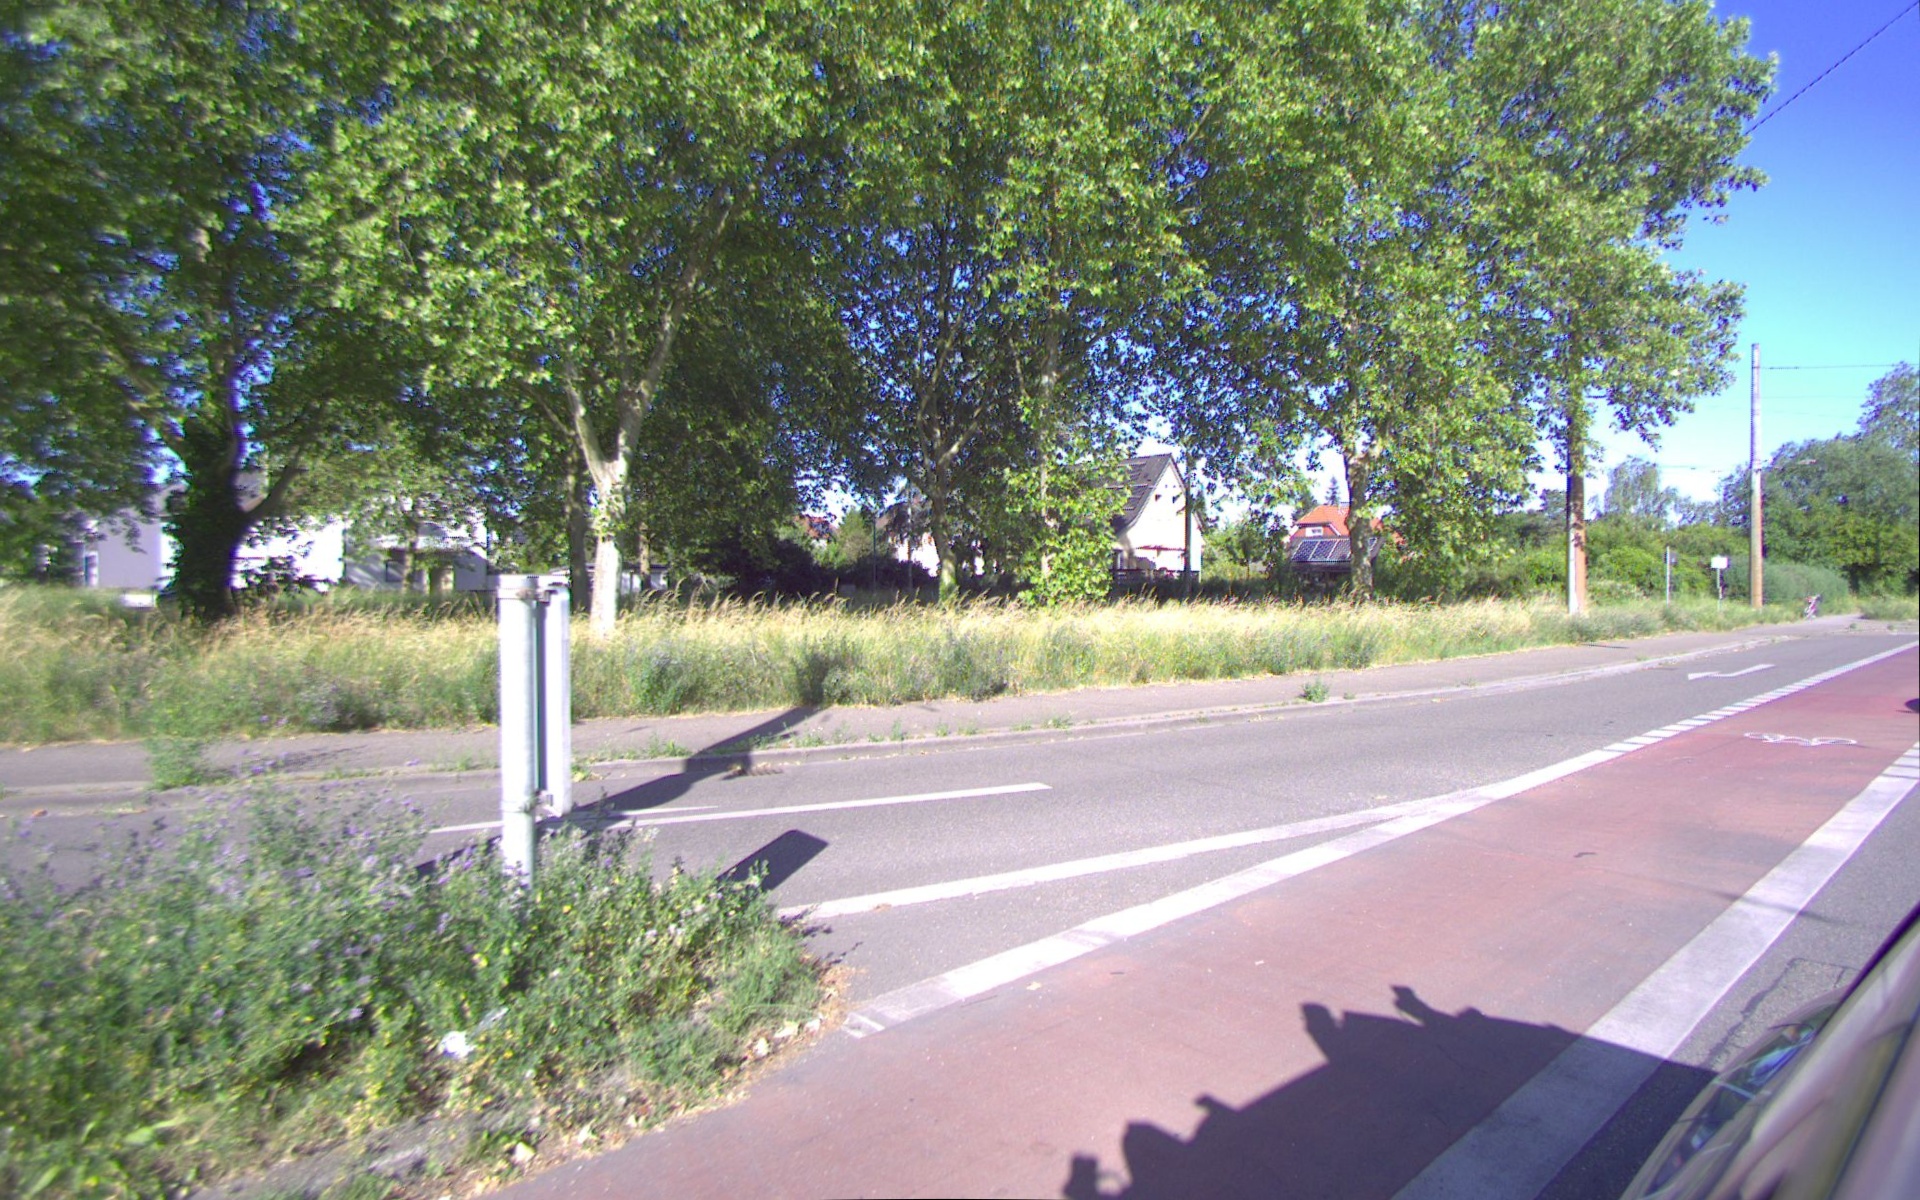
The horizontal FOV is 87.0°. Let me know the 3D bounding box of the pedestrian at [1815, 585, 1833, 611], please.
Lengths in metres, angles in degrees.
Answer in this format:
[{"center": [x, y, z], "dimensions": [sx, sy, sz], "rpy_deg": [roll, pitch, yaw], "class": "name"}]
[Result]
[{"center": [34.293, -0.087, 40.160], "dimensions": [0.446, 1.046, 0.482], "rpy_deg": [0, 1, -40], "class": "pedestrian"}]
